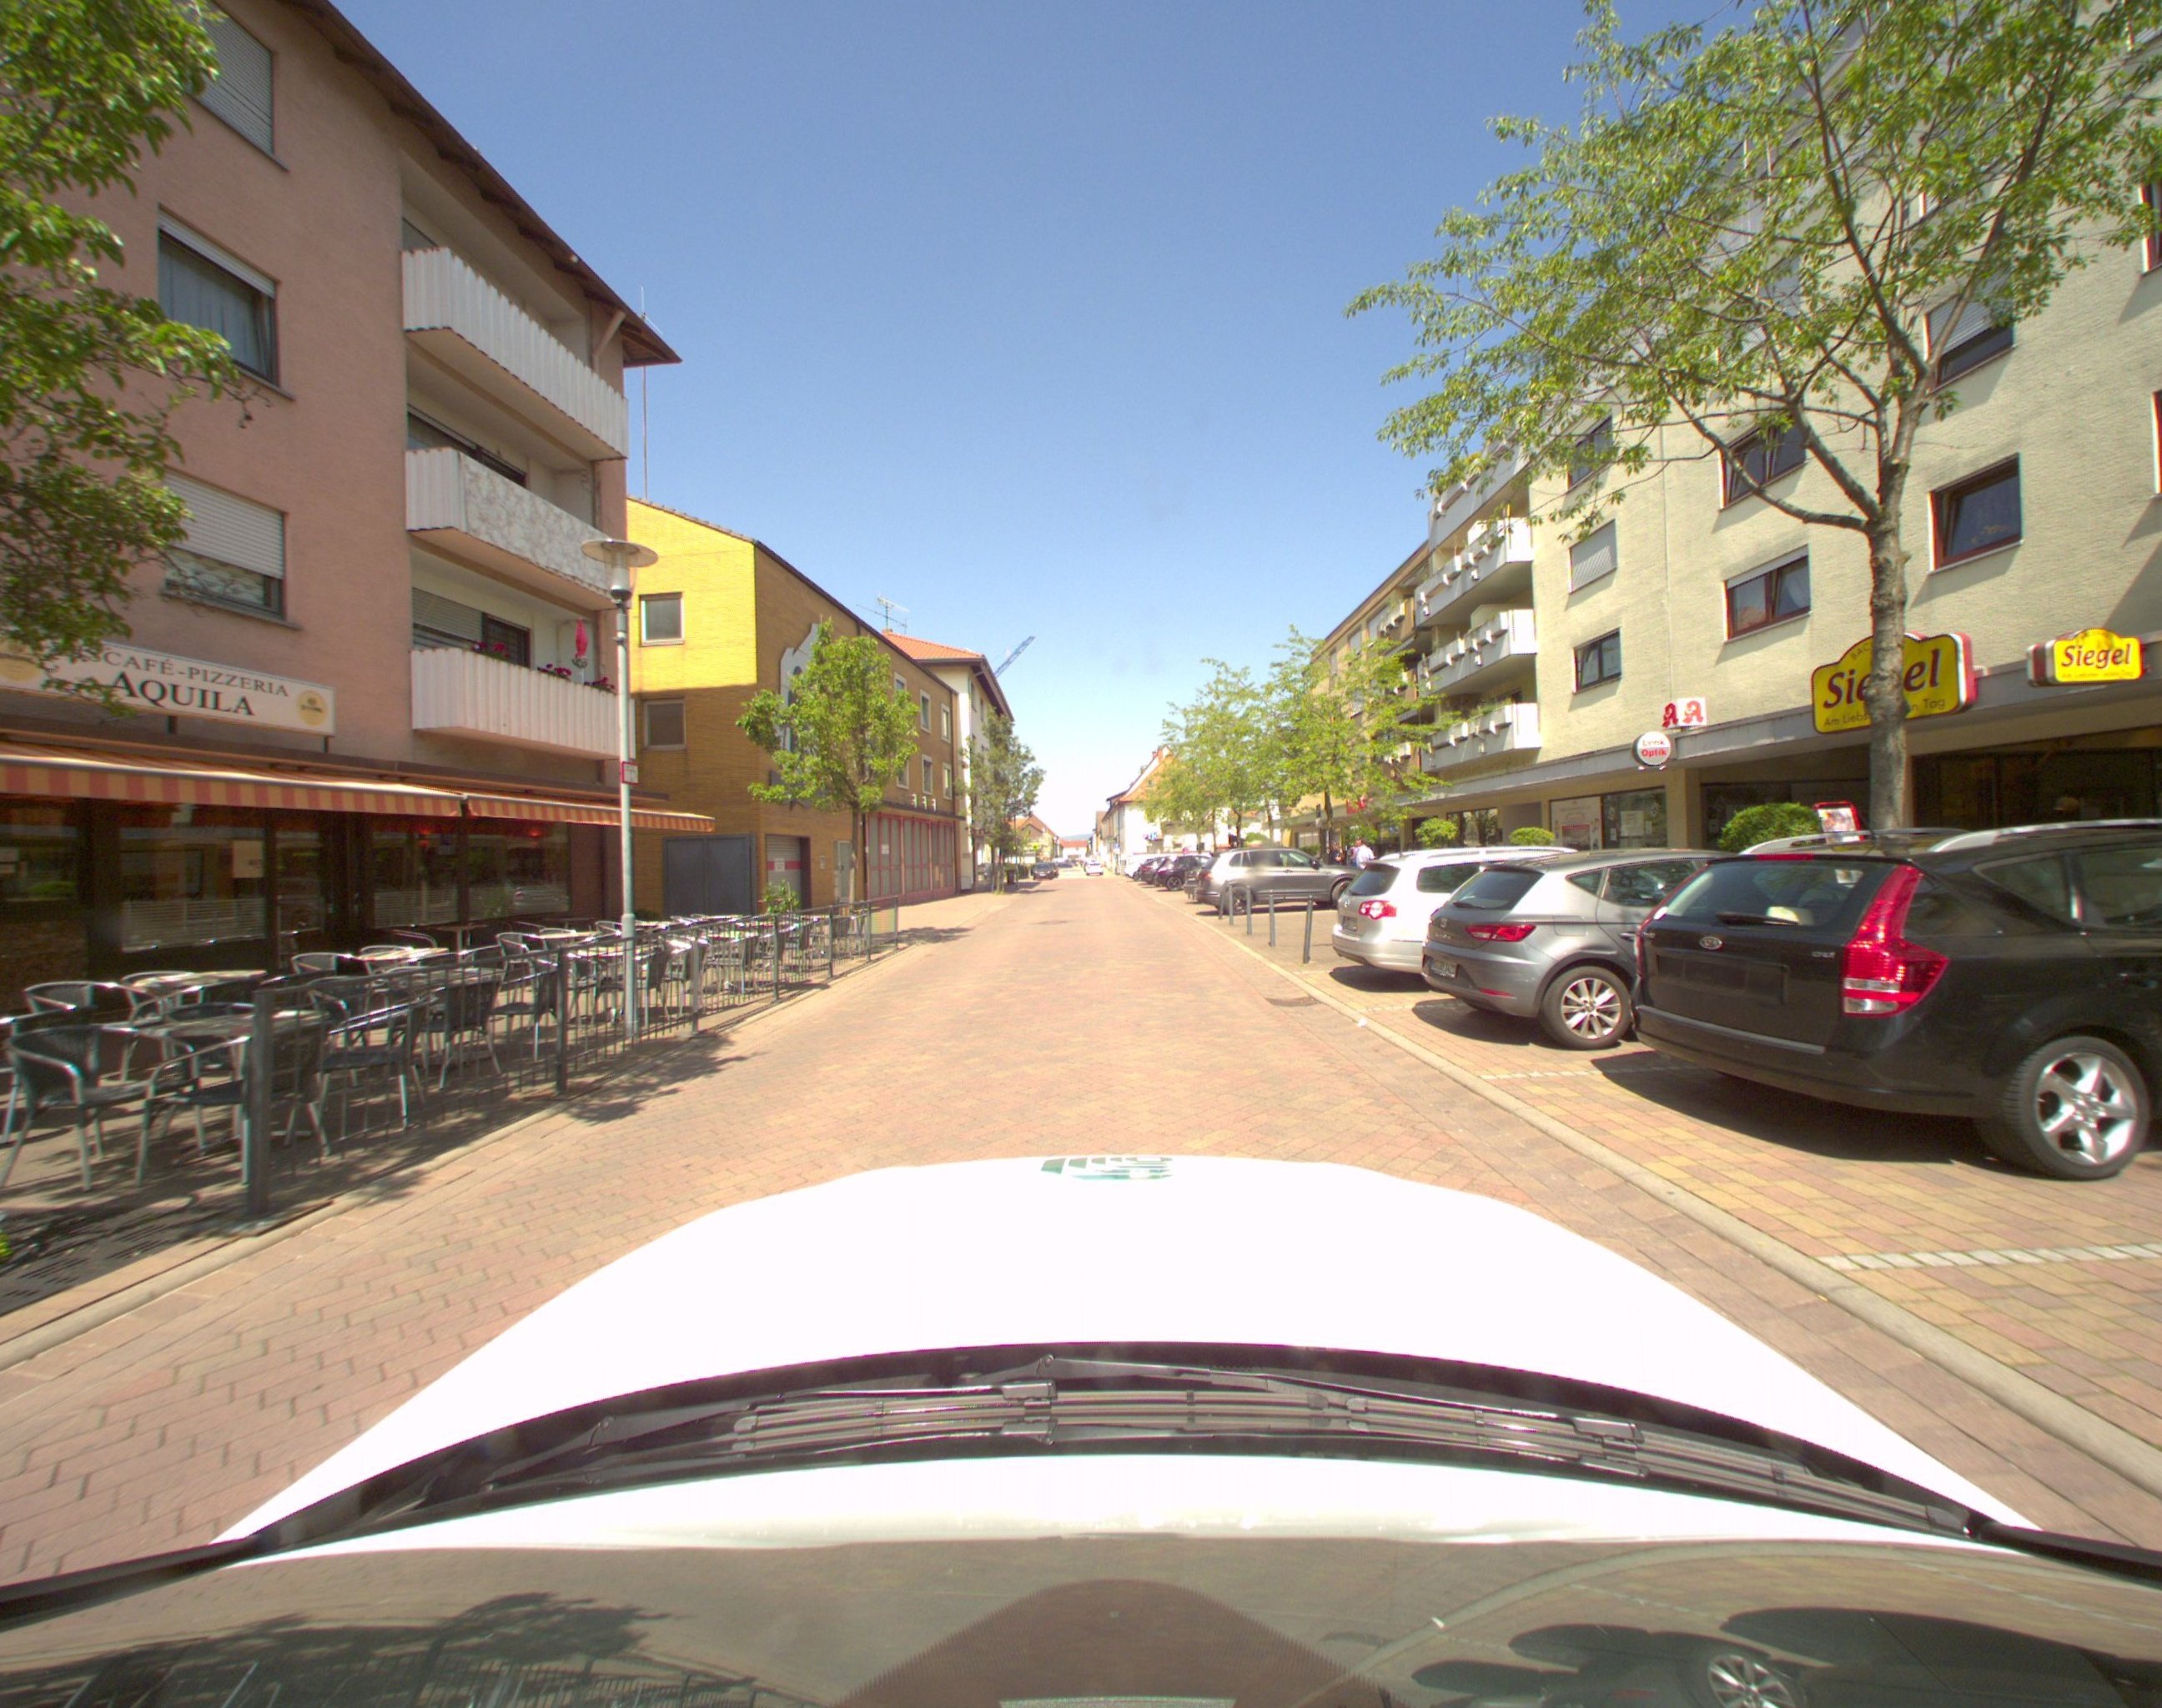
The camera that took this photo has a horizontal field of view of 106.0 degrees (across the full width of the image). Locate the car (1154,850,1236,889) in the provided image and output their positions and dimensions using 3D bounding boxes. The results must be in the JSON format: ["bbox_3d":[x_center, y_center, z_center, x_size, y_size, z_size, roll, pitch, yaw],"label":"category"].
[{"bbox_3d":[5.243,0.712,37.748,3.511,1.655,1.710,-2,-1,-1],"label":"car"}]

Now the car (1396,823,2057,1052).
[{"bbox_3d":[4.873,0.619,6.677,3.918,1.489,1.718,-3,0,5],"label":"car"}]

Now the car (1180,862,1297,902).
[{"bbox_3d":[5.067,0.894,26.411,3.515,1.141,1.272,-2,-1,-4],"label":"car"}]

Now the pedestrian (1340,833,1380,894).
[{"bbox_3d":[8.438,0.275,24.678,0.836,1.787,0.805,-2,0,-6],"label":"pedestrian"}]

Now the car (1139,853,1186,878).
[{"bbox_3d":[6.065,0.850,60.935,3.337,1.715,1.470,-2,-1,-1],"label":"car"}]

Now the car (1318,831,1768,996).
[{"bbox_3d":[5.042,0.613,9.344,4.137,1.574,1.760,-2,1,2],"label":"car"}]

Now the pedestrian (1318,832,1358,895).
[{"bbox_3d":[7.593,0.271,24.081,0.836,1.787,0.805,-2,0,-6],"label":"pedestrian"}]

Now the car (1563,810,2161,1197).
[{"bbox_3d":[5.310,0.562,4.484,4.173,1.541,1.944,-3,0,-4],"label":"car"}]

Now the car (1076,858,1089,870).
[{"bbox_3d":[0.227,1.359,111.433,1.741,1.481,3.630,-2,1,1],"label":"car"}]

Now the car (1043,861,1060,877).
[{"bbox_3d":[-3.043,1.505,84.893,1.502,1.500,3.827,-2,1,1],"label":"car"}]

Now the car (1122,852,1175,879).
[{"bbox_3d":[4.747,0.845,57.860,3.473,1.700,1.533,-3,-1,-5],"label":"car"}]

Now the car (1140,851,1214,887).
[{"bbox_3d":[4.838,0.755,41.436,3.511,1.624,1.710,-2,-1,-1],"label":"car"}]

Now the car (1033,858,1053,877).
[{"bbox_3d":[-3.377,1.207,72.892,1.502,1.500,3.827,-2,1,1],"label":"car"}]

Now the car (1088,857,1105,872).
[{"bbox_3d":[1.703,1.135,91.782,1.825,1.532,3.946,-2,1,1],"label":"car"}]

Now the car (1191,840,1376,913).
[{"bbox_3d":[5.026,0.548,20.517,4.231,1.615,1.558,-2,0,-1],"label":"car"}]

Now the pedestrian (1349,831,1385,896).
[{"bbox_3d":[8.071,0.266,23.030,0.832,1.787,0.809,-2,0,13],"label":"pedestrian"}]

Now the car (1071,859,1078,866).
[{"bbox_3d":[-1.563,2.103,198.356,1.741,1.481,3.630,-2,1,1],"label":"car"}]
